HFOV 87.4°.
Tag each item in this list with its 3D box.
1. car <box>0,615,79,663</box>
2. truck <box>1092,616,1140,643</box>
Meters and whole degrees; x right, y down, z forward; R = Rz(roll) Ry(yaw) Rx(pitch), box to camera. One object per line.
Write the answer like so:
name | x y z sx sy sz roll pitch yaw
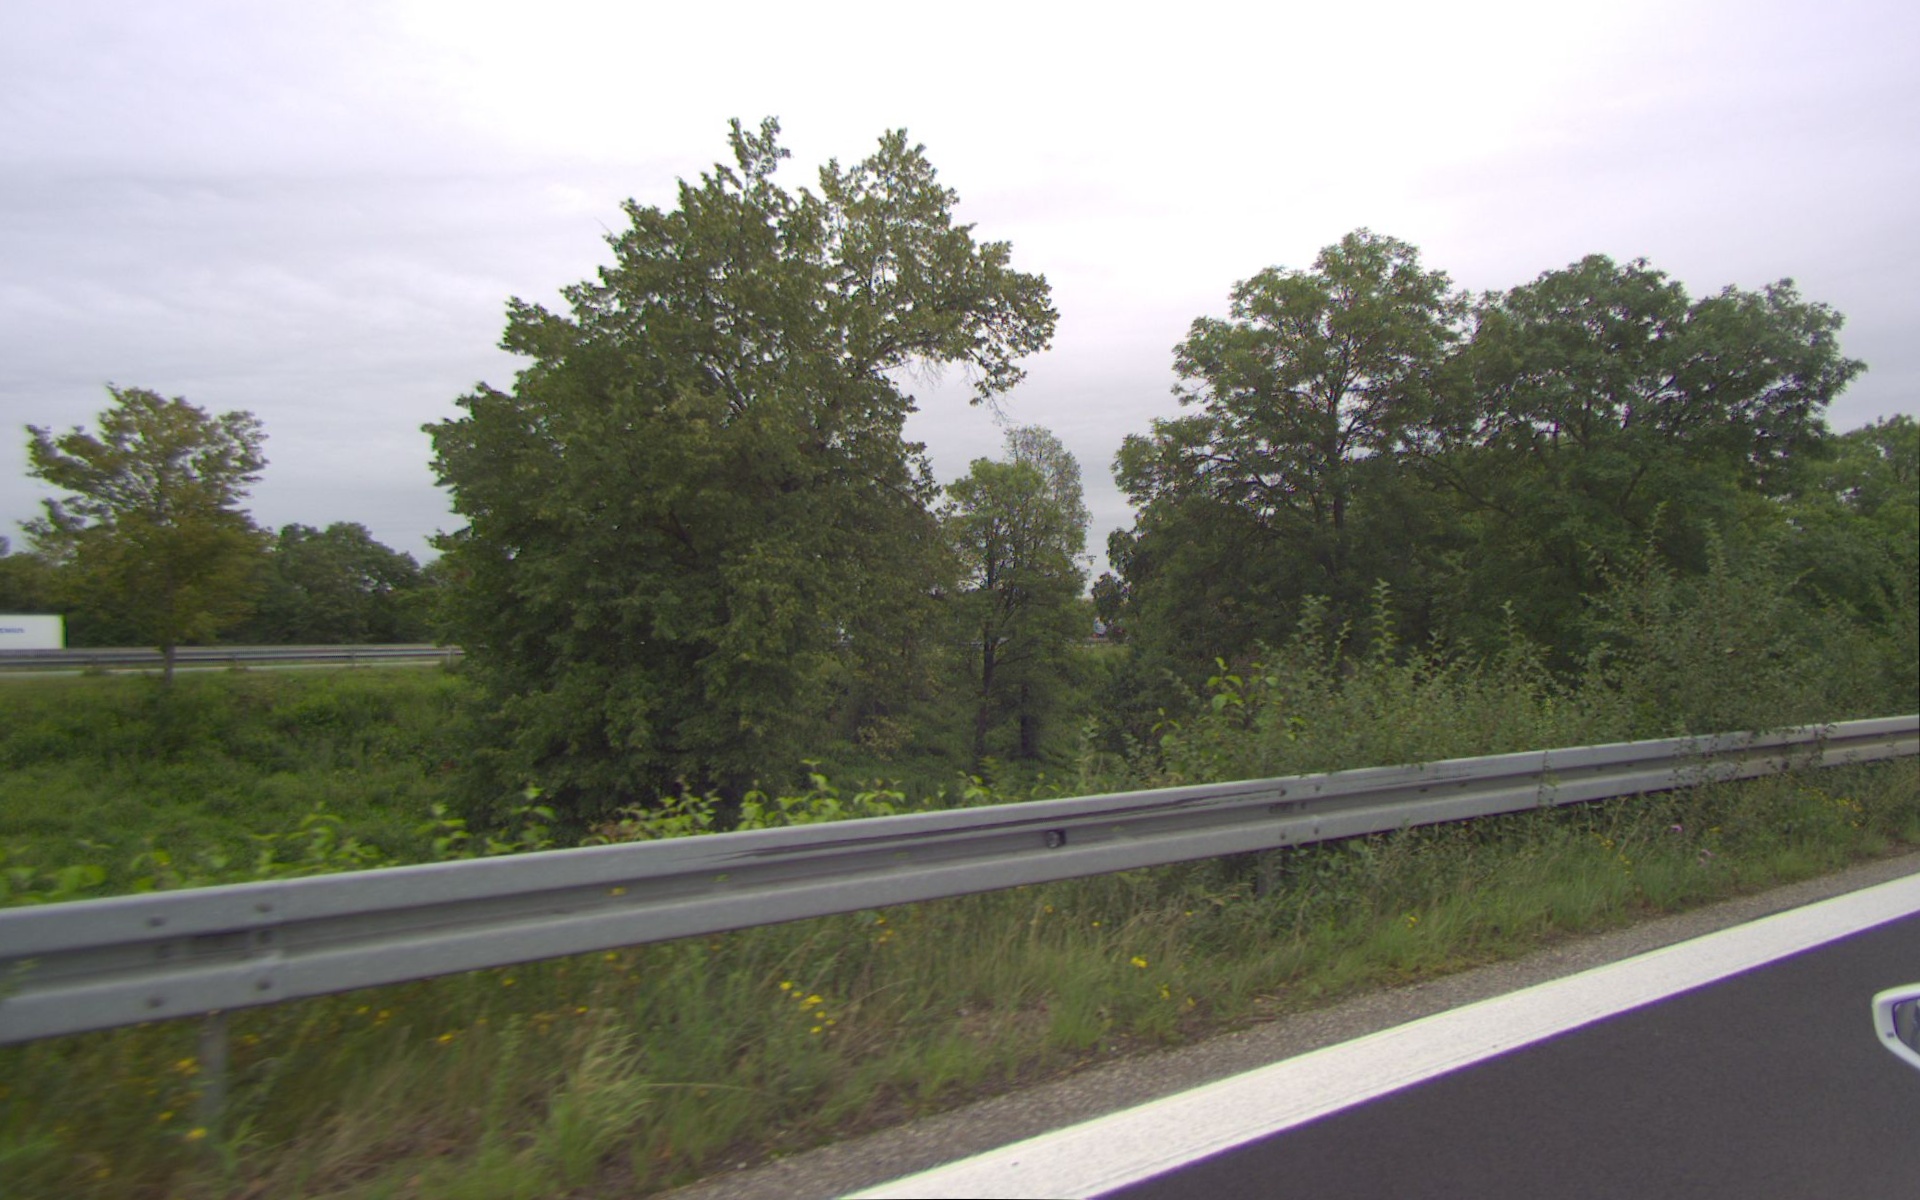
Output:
car | -62.033 2.431 62.800 2.695 3.021 10.052 -1 -2 35
truck | 20.415 3.853 131.088 2.818 3.409 8.606 -1 -2 34
